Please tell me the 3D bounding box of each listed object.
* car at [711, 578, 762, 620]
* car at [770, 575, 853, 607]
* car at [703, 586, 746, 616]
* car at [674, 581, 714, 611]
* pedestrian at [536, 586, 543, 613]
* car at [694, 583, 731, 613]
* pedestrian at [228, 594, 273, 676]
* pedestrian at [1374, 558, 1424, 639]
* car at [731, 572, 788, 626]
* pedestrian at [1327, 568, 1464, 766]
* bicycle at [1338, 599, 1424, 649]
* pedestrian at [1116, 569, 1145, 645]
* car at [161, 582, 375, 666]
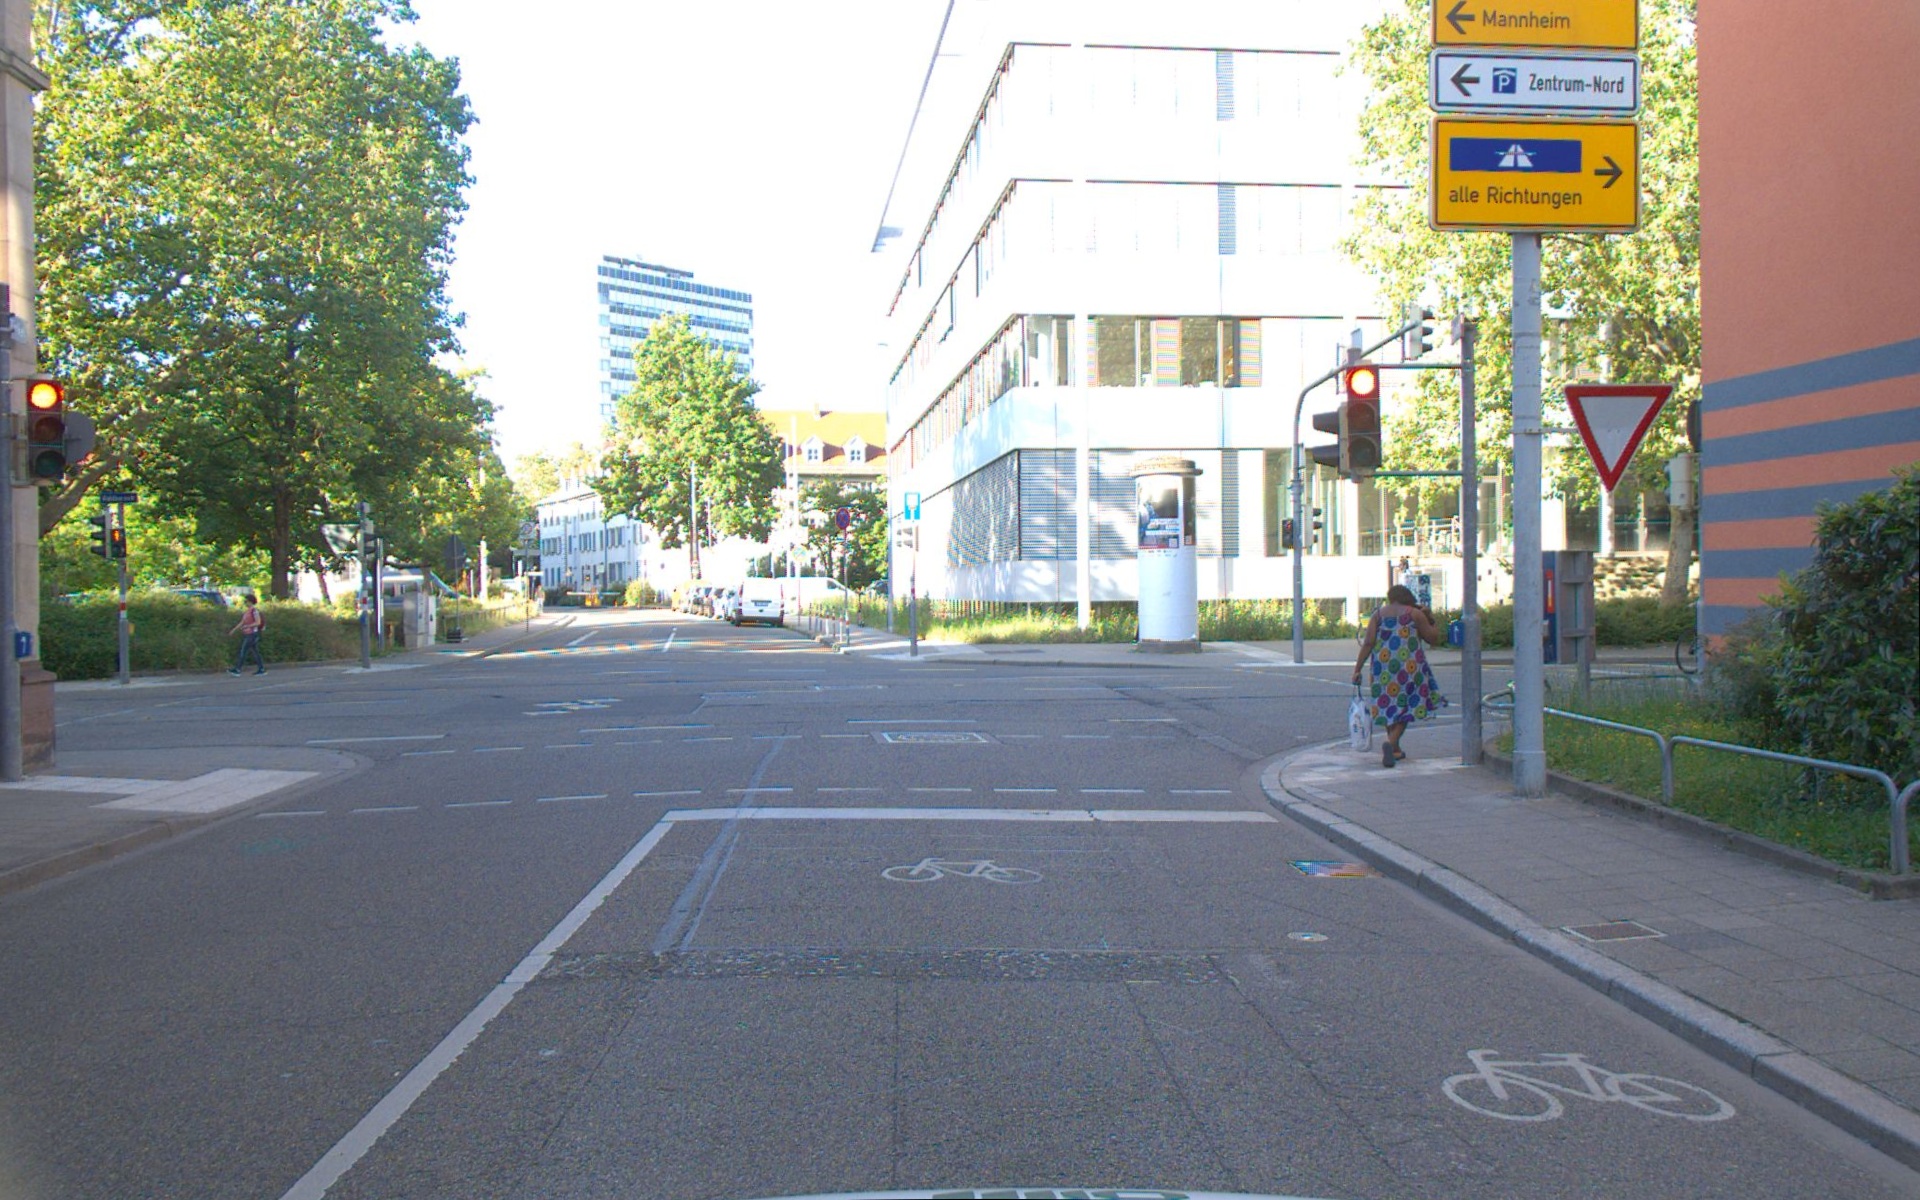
[{"bbox_3d":[-10.356,-0.061,76.396,1.913,1.826,4.224,-1,0,-13],"label":"car"},{"bbox_3d":[-9.233,-0.522,102.651,4.804,1.905,1.990,1,-1,-17],"label":"car"},{"bbox_3d":[-11.573,0.030,81.173,1.675,1.449,4.223,-1,1,-14],"label":"car"},{"bbox_3d":[-15.381,-0.237,95.420,2.063,1.687,4.463,-1,1,-11],"label":"car"},{"bbox_3d":[-24.797,-0.036,97.517,0.373,1.561,0.444,-1,0,-13],"label":"pedestrian"},{"bbox_3d":[-12.854,-0.109,85.635,1.674,1.490,4.226,-1,1,-11],"label":"car"},{"bbox_3d":[-14.324,0.700,33.394,0.706,1.627,0.609,-1,0,-37],"label":"pedestrian"},{"bbox_3d":[10.285,-0.031,38.762,0.532,1.863,1.030,-1,0,-30],"label":"pedestrian"},{"bbox_3d":[-7.866,-0.056,64.515,2.029,1.997,4.229,-1,0,-9],"label":"car"},{"bbox_3d":[3.726,0.564,14.136,0.935,1.600,0.750,-4,0,23],"label":"pedestrian"},{"bbox_3d":[9.220,0.521,36.242,0.460,1.067,1.886,-1,0,-42],"label":"bicycle"},{"bbox_3d":[4.021,0.158,38.980,0.638,1.766,0.813,-1,0,5],"label":"pedestrian"},{"bbox_3d":[-15.767,0.524,37.898,4.146,1.808,1.901,-1,0,-9],"label":"car"}]
